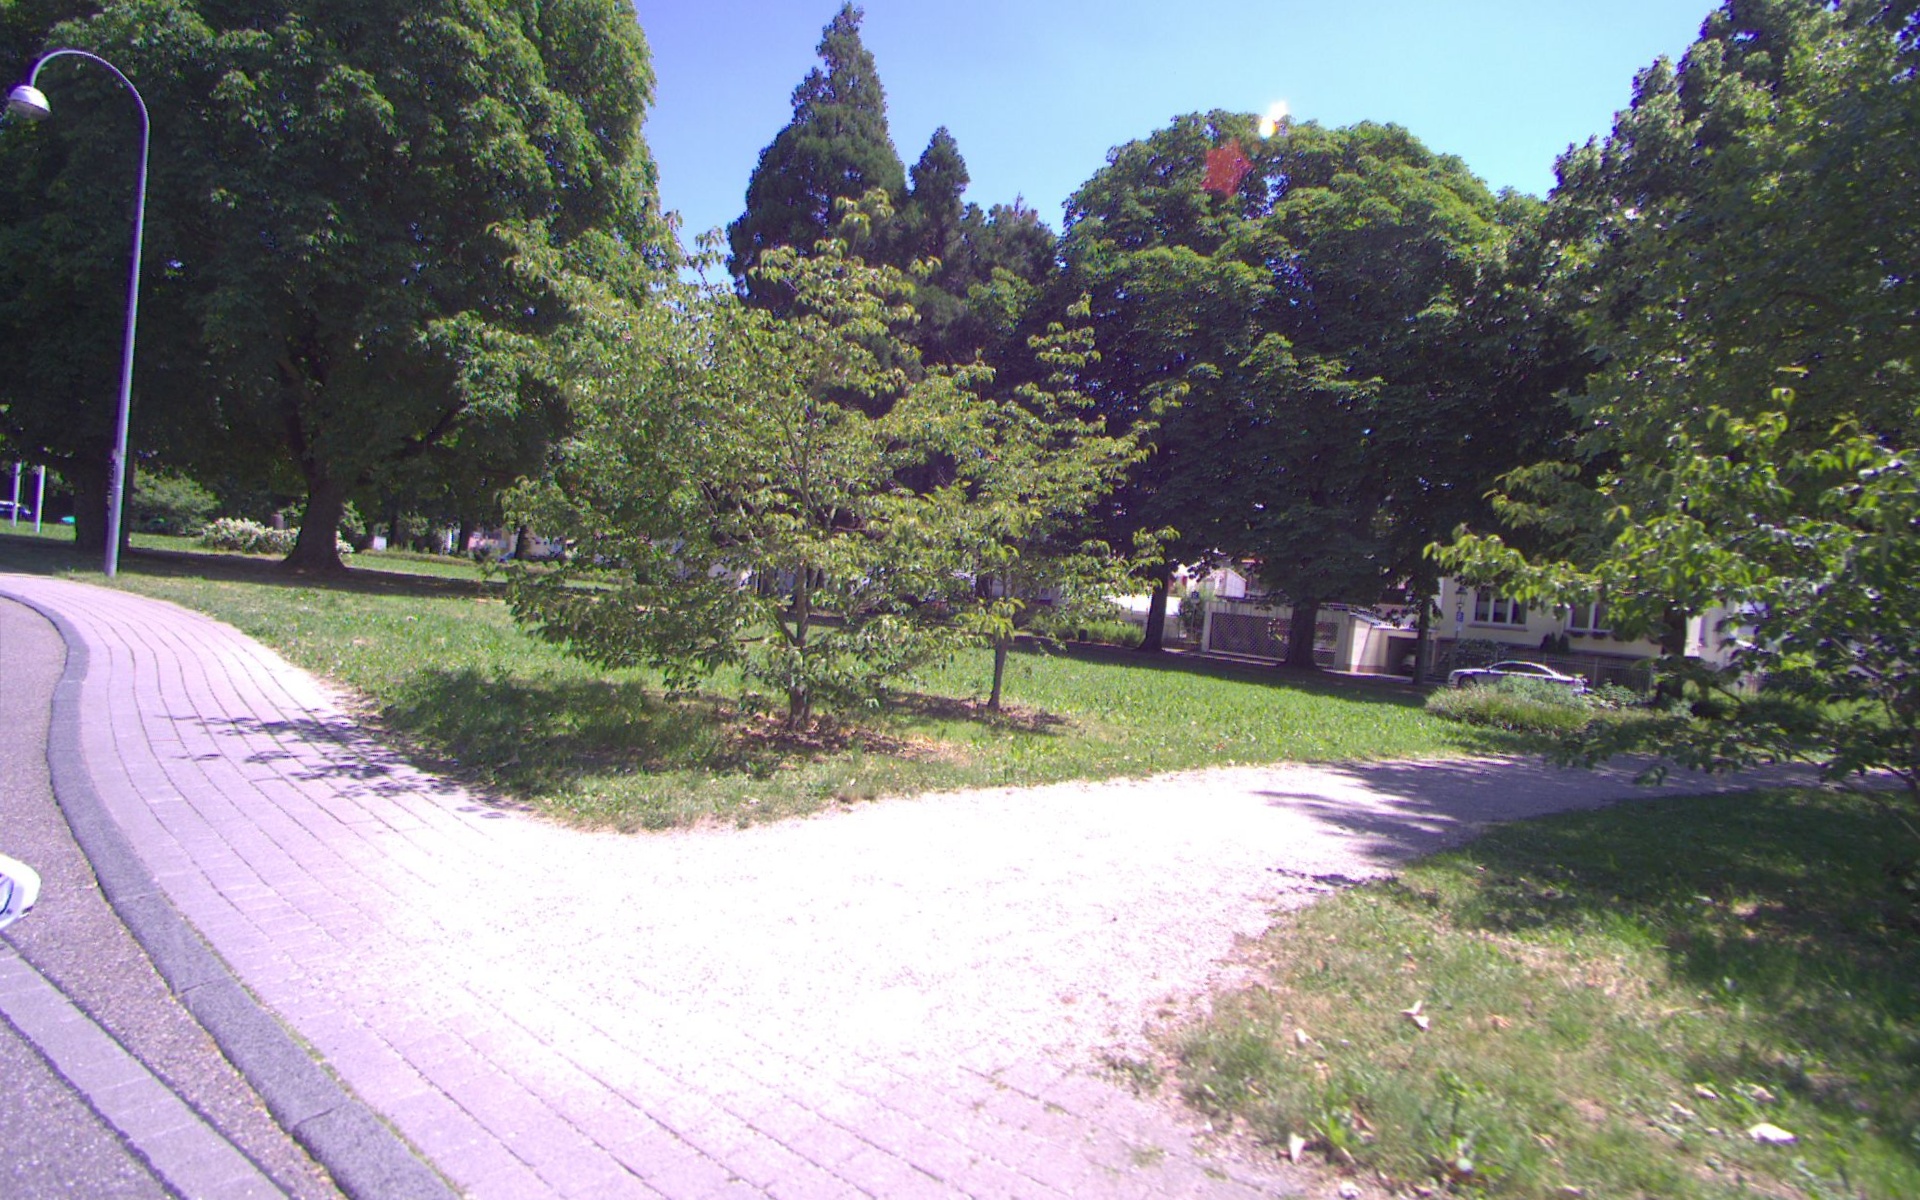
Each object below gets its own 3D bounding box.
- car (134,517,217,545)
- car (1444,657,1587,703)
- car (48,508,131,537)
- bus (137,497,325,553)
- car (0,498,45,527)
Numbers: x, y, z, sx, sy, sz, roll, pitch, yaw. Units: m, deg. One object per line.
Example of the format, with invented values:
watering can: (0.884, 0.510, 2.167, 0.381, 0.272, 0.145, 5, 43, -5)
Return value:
car: (-57.440, -5.017, 73.687, 1.968, 1.433, 4.340, 5, -1, 33)
car: (22.104, 3.166, 40.163, 1.659, 1.304, 4.657, 4, 0, -44)
car: (-60.128, -5.350, 69.511, 1.968, 1.471, 3.883, 5, -1, 34)
bus: (-58.984, -5.974, 81.995, 2.231, 3.014, 12.389, 5, 0, 31)
car: (-62.689, -5.848, 65.127, 1.969, 1.628, 4.821, 6, 0, 36)
